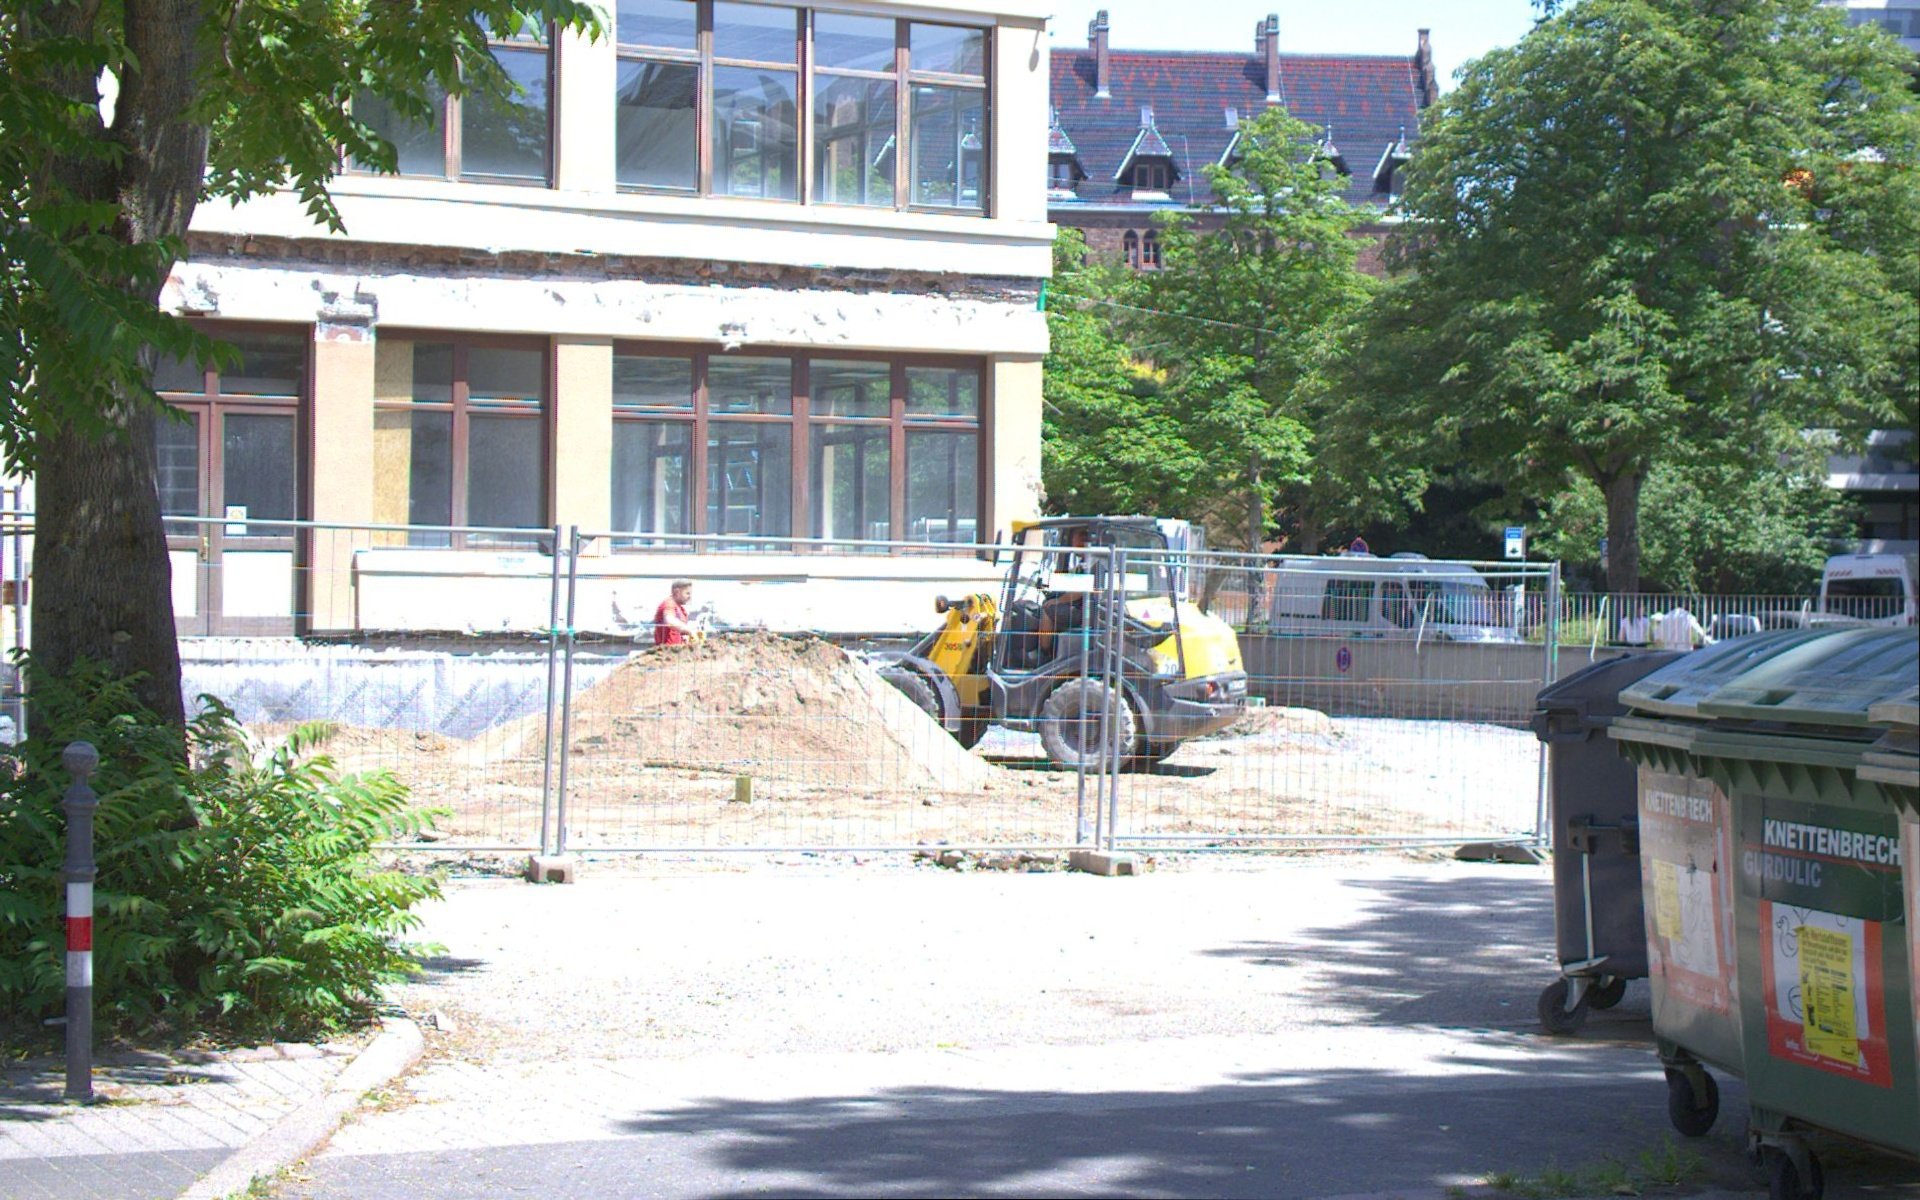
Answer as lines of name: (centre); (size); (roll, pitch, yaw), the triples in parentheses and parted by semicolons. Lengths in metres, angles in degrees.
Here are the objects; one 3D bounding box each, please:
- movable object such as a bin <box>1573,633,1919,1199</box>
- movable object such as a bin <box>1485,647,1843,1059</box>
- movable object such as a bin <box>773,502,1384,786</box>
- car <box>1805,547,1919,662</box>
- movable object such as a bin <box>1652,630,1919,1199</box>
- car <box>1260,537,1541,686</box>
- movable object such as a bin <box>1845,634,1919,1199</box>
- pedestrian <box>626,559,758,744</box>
movable object such as a bin: (2.361, 0.827, 9.539); (1.075, 1.453, 1.377); (1, 0, 1)
movable object such as a bin: (2.636, 0.917, 13.045); (1.075, 1.453, 1.377); (1, 0, 1)
movable object such as a bin: (1.147, 0.381, 33.707); (5.411, 2.456, 2.364); (2, 0, 26)
car: (18.718, 0.095, 70.221); (2.187, 2.250, 4.863); (1, 0, 21)
movable object such as a bin: (2.309, 0.807, 8.118); (1.075, 1.453, 1.377); (1, 0, 1)
car: (7.398, 0.187, 58.288); (1.993, 2.408, 5.243); (1, 0, -29)
movable object such as a bin: (2.423, 0.802, 6.645); (1.075, 1.453, 1.377); (1, 0, 1)
pedestrian: (-2.719, 0.511, 34.885); (0.984, 1.840, 0.916); (0, 0, 26)
